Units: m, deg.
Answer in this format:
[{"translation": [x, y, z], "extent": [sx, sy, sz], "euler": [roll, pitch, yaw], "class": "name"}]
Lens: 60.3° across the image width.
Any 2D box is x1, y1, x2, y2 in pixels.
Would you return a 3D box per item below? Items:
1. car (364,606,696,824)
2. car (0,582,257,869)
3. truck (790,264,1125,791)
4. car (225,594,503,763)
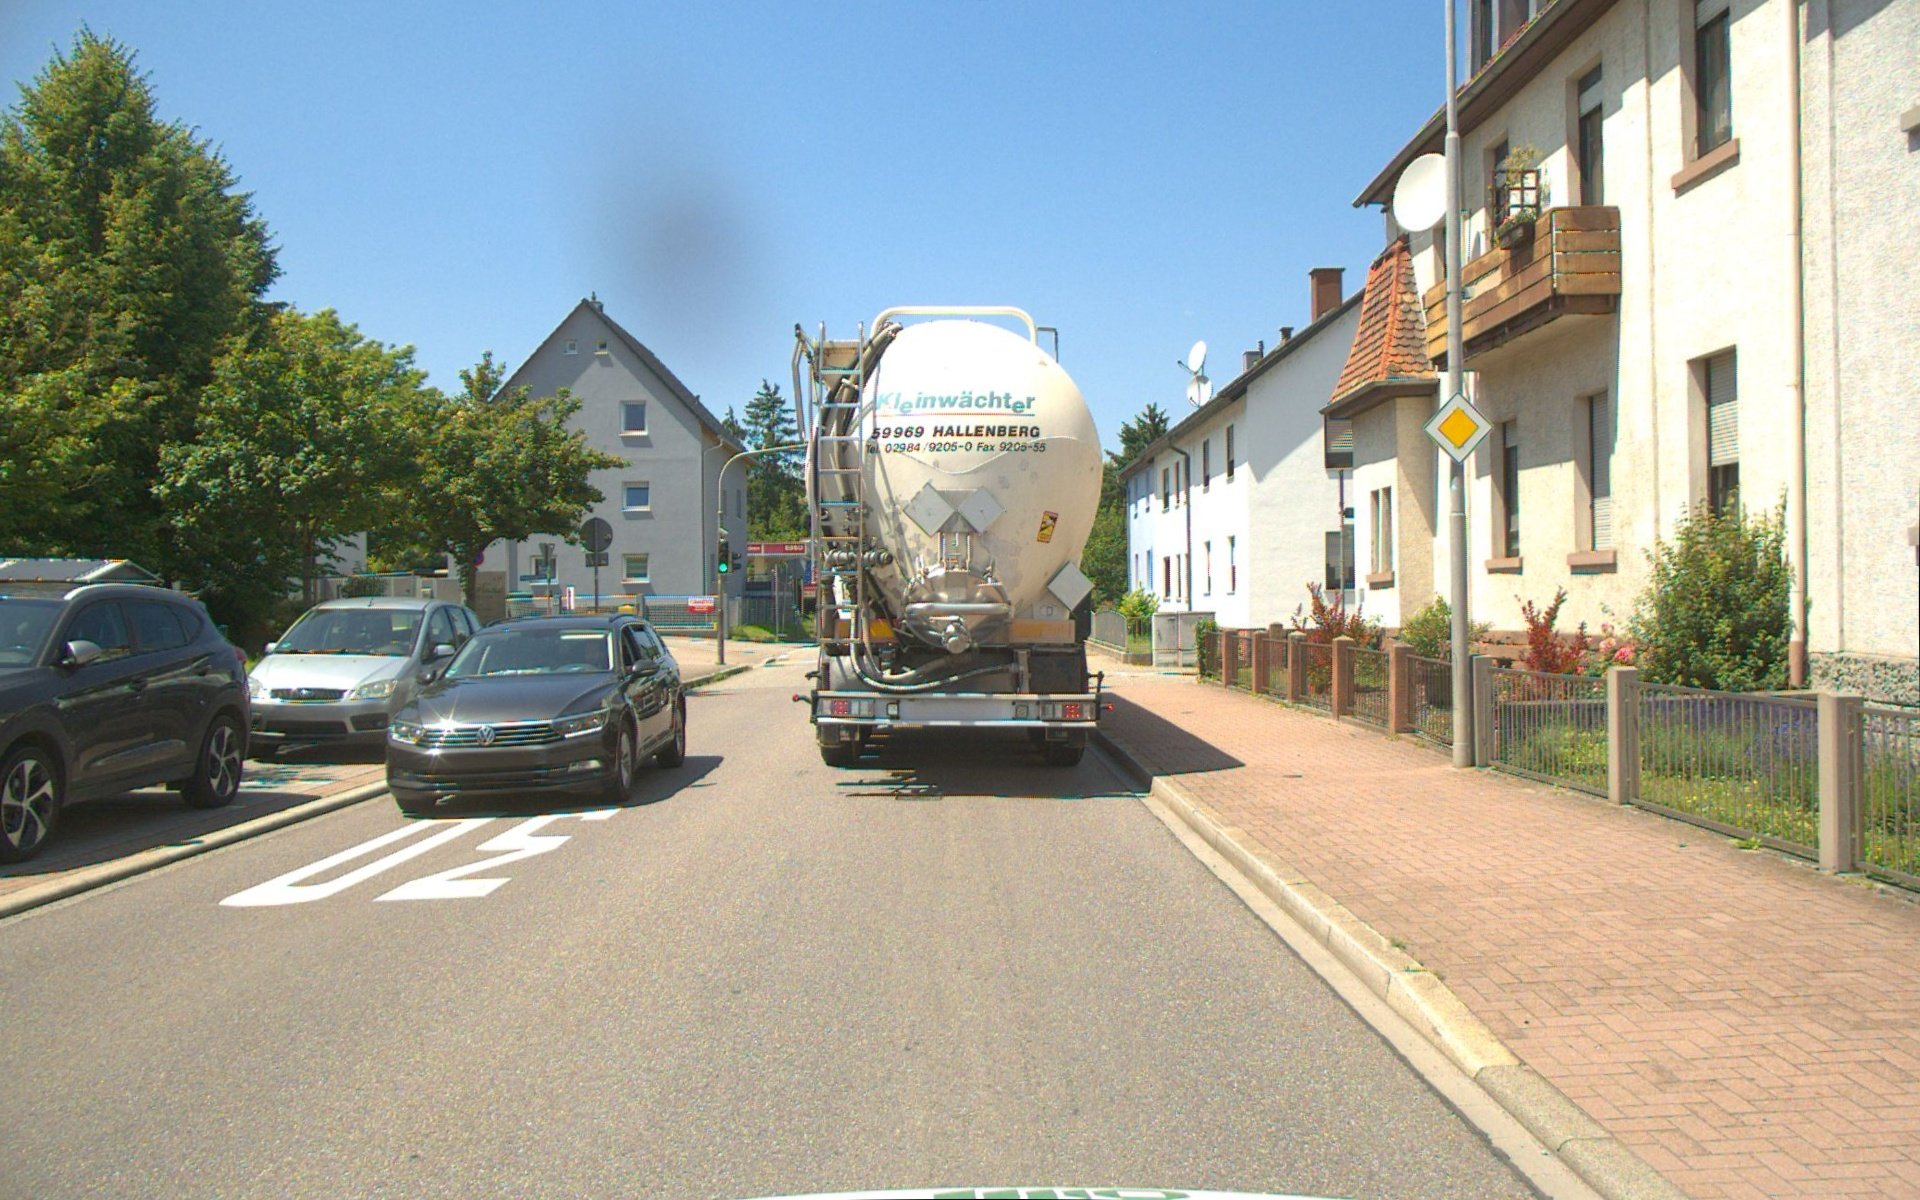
[{"translation": [-3.453, 0.840, 14.119], "extent": [1.748, 1.481, 4.256], "euler": [-3, 0, -1], "class": "car"}, {"translation": [-6.337, 0.720, 10.968], "extent": [1.657, 1.648, 3.997], "euler": [0, 0, 0], "class": "car"}, {"translation": [-0.064, -0.553, 17.638], "extent": [2.587, 4.086, 9.559], "euler": [0, 0, -1], "class": "truck"}, {"translation": [-6.241, 0.759, 17.770], "extent": [1.663, 1.608, 3.836], "euler": [0, 0, -1], "class": "car"}]
